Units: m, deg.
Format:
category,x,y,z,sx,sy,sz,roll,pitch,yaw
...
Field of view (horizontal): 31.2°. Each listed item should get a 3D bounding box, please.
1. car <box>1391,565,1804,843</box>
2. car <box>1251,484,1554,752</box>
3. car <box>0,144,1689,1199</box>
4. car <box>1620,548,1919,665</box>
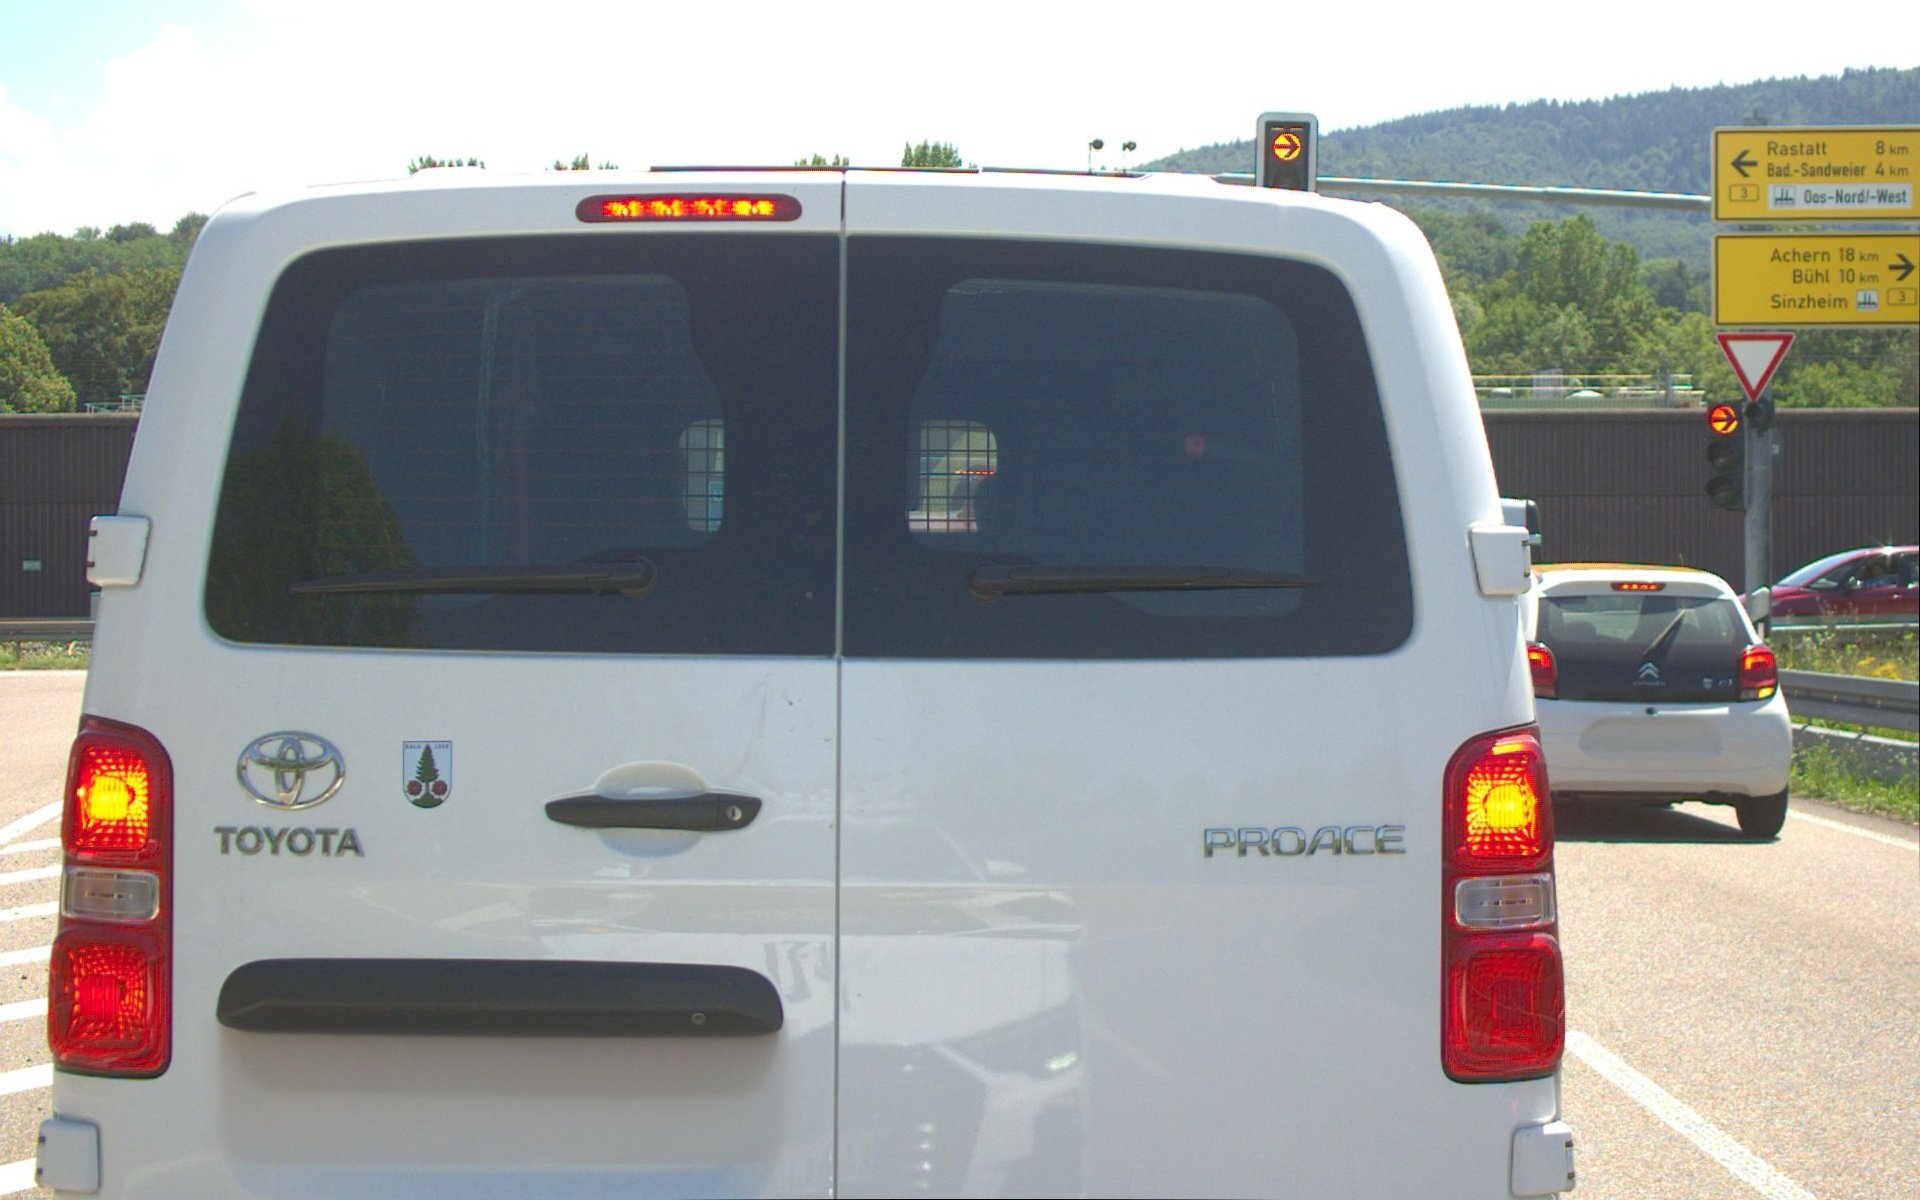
category,x,y,z,sx,sy,sz,roll,pitch,yaw
car,3.539,0.528,19.629,1.656,1.426,3.366,1,1,-1
car,3.530,0.108,28.248,1.928,1.993,4.837,1,1,1
car,-0.217,0.444,5.652,1.886,1.880,4.000,1,1,-1
car,11.952,0.086,49.872,4.309,1.651,2.000,0,1,-3
